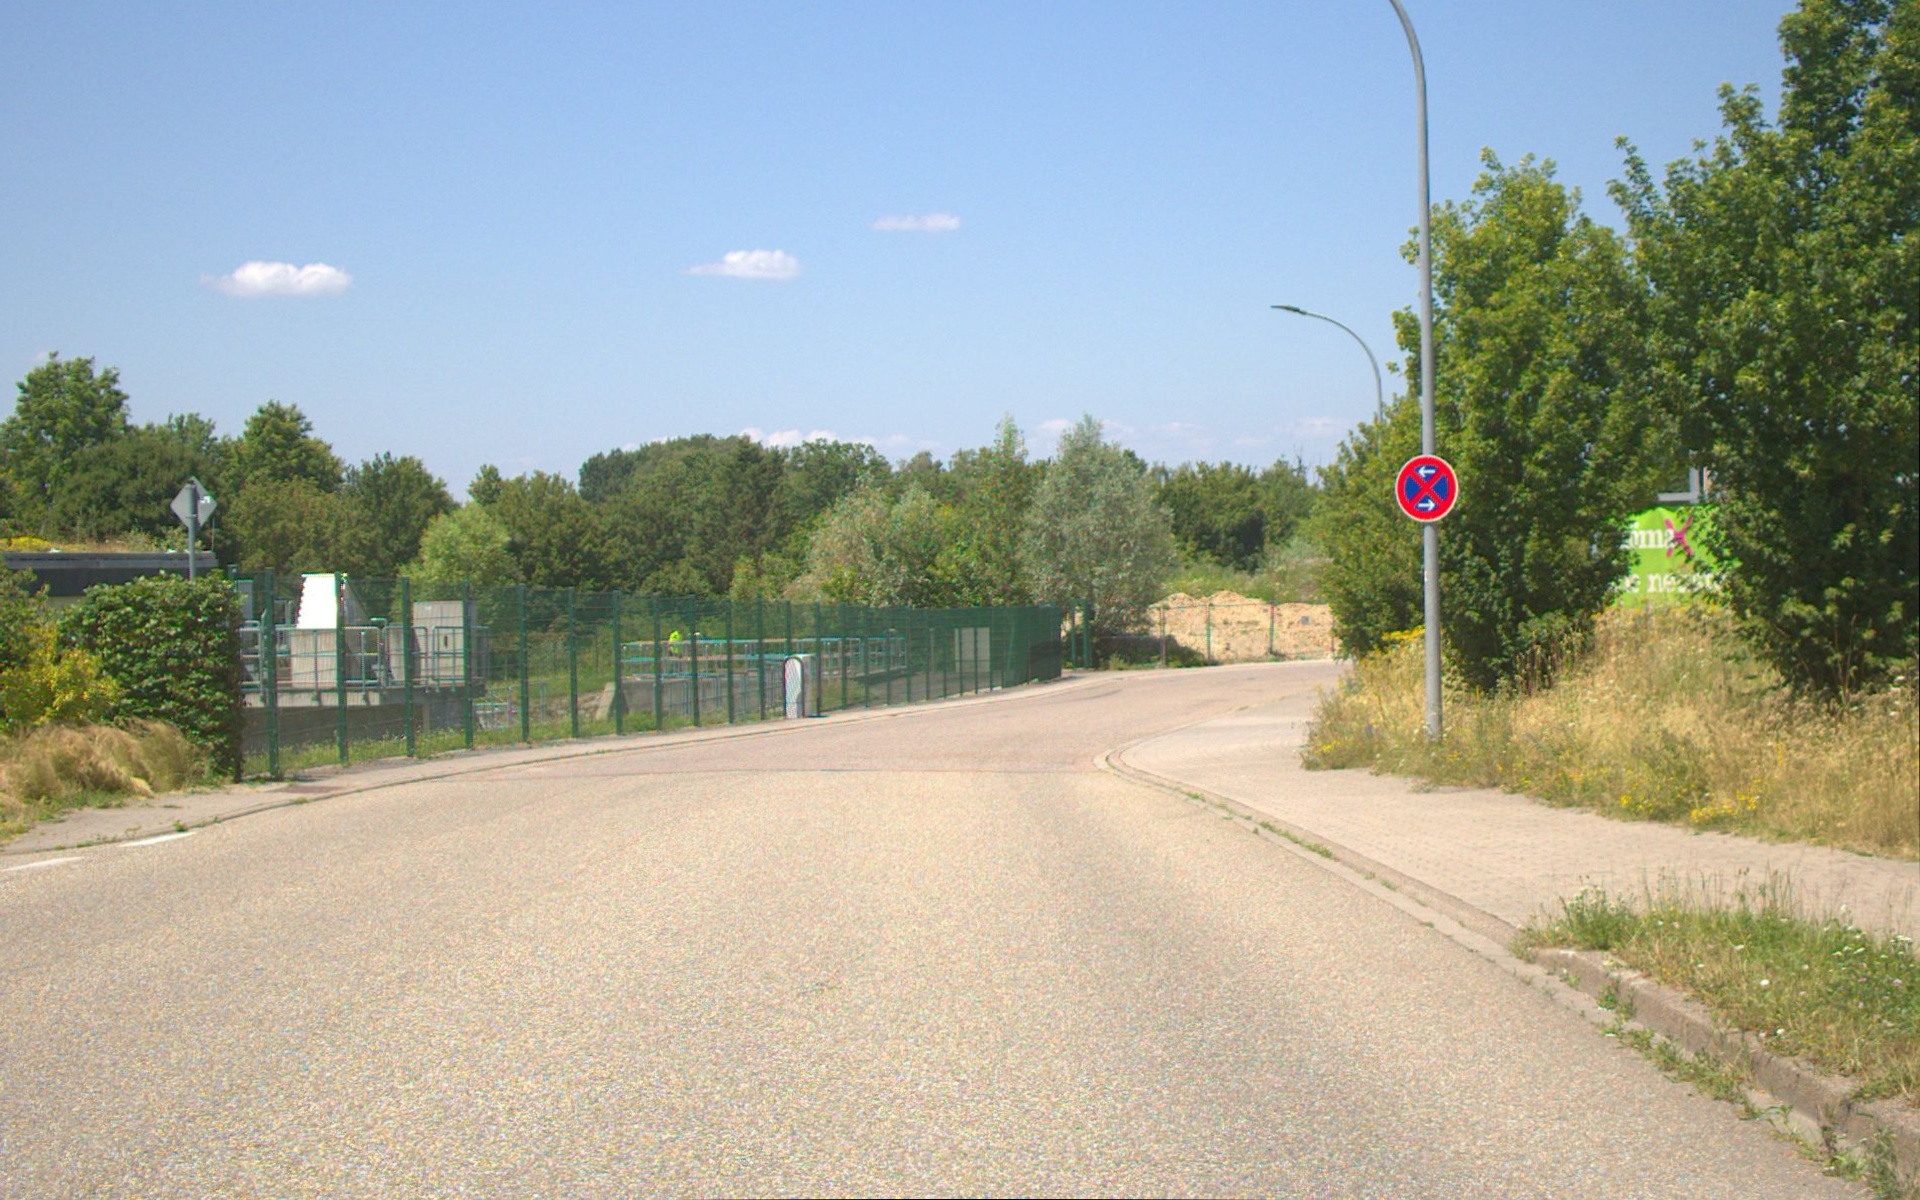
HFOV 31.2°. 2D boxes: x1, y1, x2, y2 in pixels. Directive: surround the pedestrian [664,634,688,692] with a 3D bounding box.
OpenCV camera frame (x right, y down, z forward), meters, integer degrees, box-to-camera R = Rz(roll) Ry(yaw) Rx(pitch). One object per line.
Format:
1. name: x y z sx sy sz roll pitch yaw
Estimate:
1. pedestrian: -9.142 2.027 110.671 0.606 1.833 0.804 -1 -1 7
